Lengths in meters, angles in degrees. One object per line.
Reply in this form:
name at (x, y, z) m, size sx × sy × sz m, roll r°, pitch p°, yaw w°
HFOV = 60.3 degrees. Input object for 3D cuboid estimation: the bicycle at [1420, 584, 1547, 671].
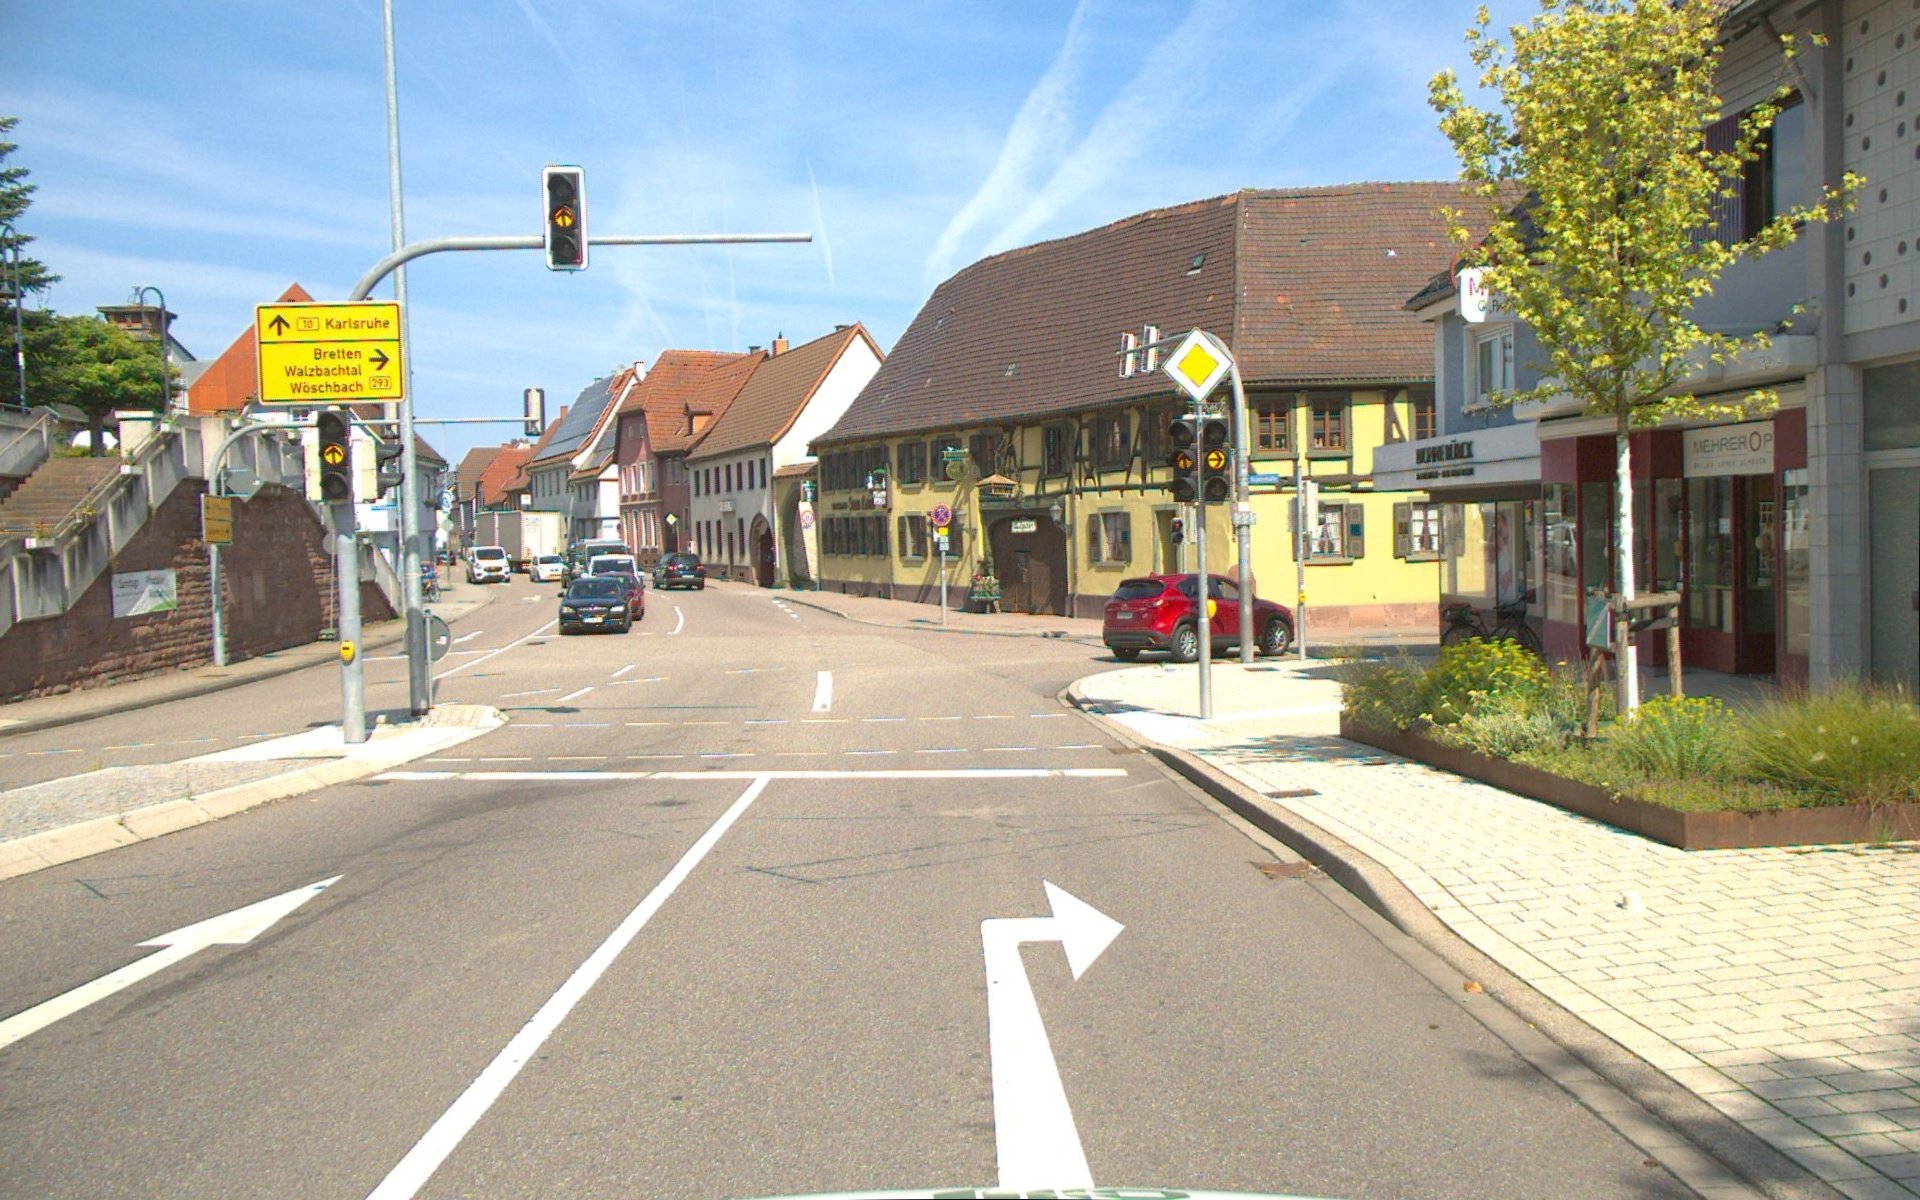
bicycle at (8.084, 0.416, 25.572) m, size 1.767 × 1.256 × 0.549 m, roll -2°, pitch 1°, yaw -1°

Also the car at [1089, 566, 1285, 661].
car at (4.518, 0.224, 32.618) m, size 3.778 × 1.692 × 1.784 m, roll -2°, pitch 1°, yaw -41°

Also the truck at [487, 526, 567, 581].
truck at (-29.506, -3.169, 112.453) m, size 3.188 × 3.611 × 9.143 m, roll 0°, pitch 2°, yaw -29°

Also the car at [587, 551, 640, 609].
car at (-12.768, -0.776, 60.817) m, size 1.789 × 1.939 × 4.949 m, roll -2°, pitch 3°, yaw -12°

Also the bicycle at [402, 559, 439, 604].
bicycle at (-21.927, -0.772, 67.263) m, size 0.628 × 1.810 × 2.670 m, roll 1°, pitch 1°, yaw -1°

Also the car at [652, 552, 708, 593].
car at (-12.830, -1.277, 75.724) m, size 1.794 × 1.768 × 3.982 m, roll -3°, pitch 2°, yaw -20°

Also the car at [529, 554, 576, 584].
car at (-22.442, -1.718, 90.914) m, size 1.763 × 1.552 × 3.975 m, roll -3°, pitch 3°, yaw -24°

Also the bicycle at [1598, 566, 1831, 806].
bicycle at (4.606, 0.461, 10.252) m, size 0.518 × 1.301 × 1.993 m, roll -4°, pitch 1°, yaw 2°

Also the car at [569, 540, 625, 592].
car at (-16.395, -1.540, 74.646) m, size 1.733 × 2.285 × 4.523 m, roll 0°, pitch 1°, yaw -22°

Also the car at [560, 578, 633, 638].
car at (-10.100, 0.186, 46.214) m, size 1.787 × 1.459 × 4.239 m, roll -2°, pitch 2°, yaw -10°

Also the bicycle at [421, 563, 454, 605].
bicycle at (-20.946, -0.660, 66.354) m, size 0.546 × 1.635 × 2.562 m, roll 1°, pitch 1°, yaw -1°

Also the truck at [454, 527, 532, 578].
truck at (-34.306, -3.404, 121.110) m, size 3.125 × 3.520 × 10.608 m, roll 0°, pitch 1°, yaw -29°

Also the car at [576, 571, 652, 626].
car at (-11.116, -0.080, 53.446) m, size 2.119 × 1.541 × 4.938 m, roll -1°, pitch 2°, yaw -9°

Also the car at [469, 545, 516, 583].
car at (-26.256, -2.011, 92.841) m, size 2.106 × 2.000 × 5.248 m, roll -3°, pitch 2°, yaw -20°
